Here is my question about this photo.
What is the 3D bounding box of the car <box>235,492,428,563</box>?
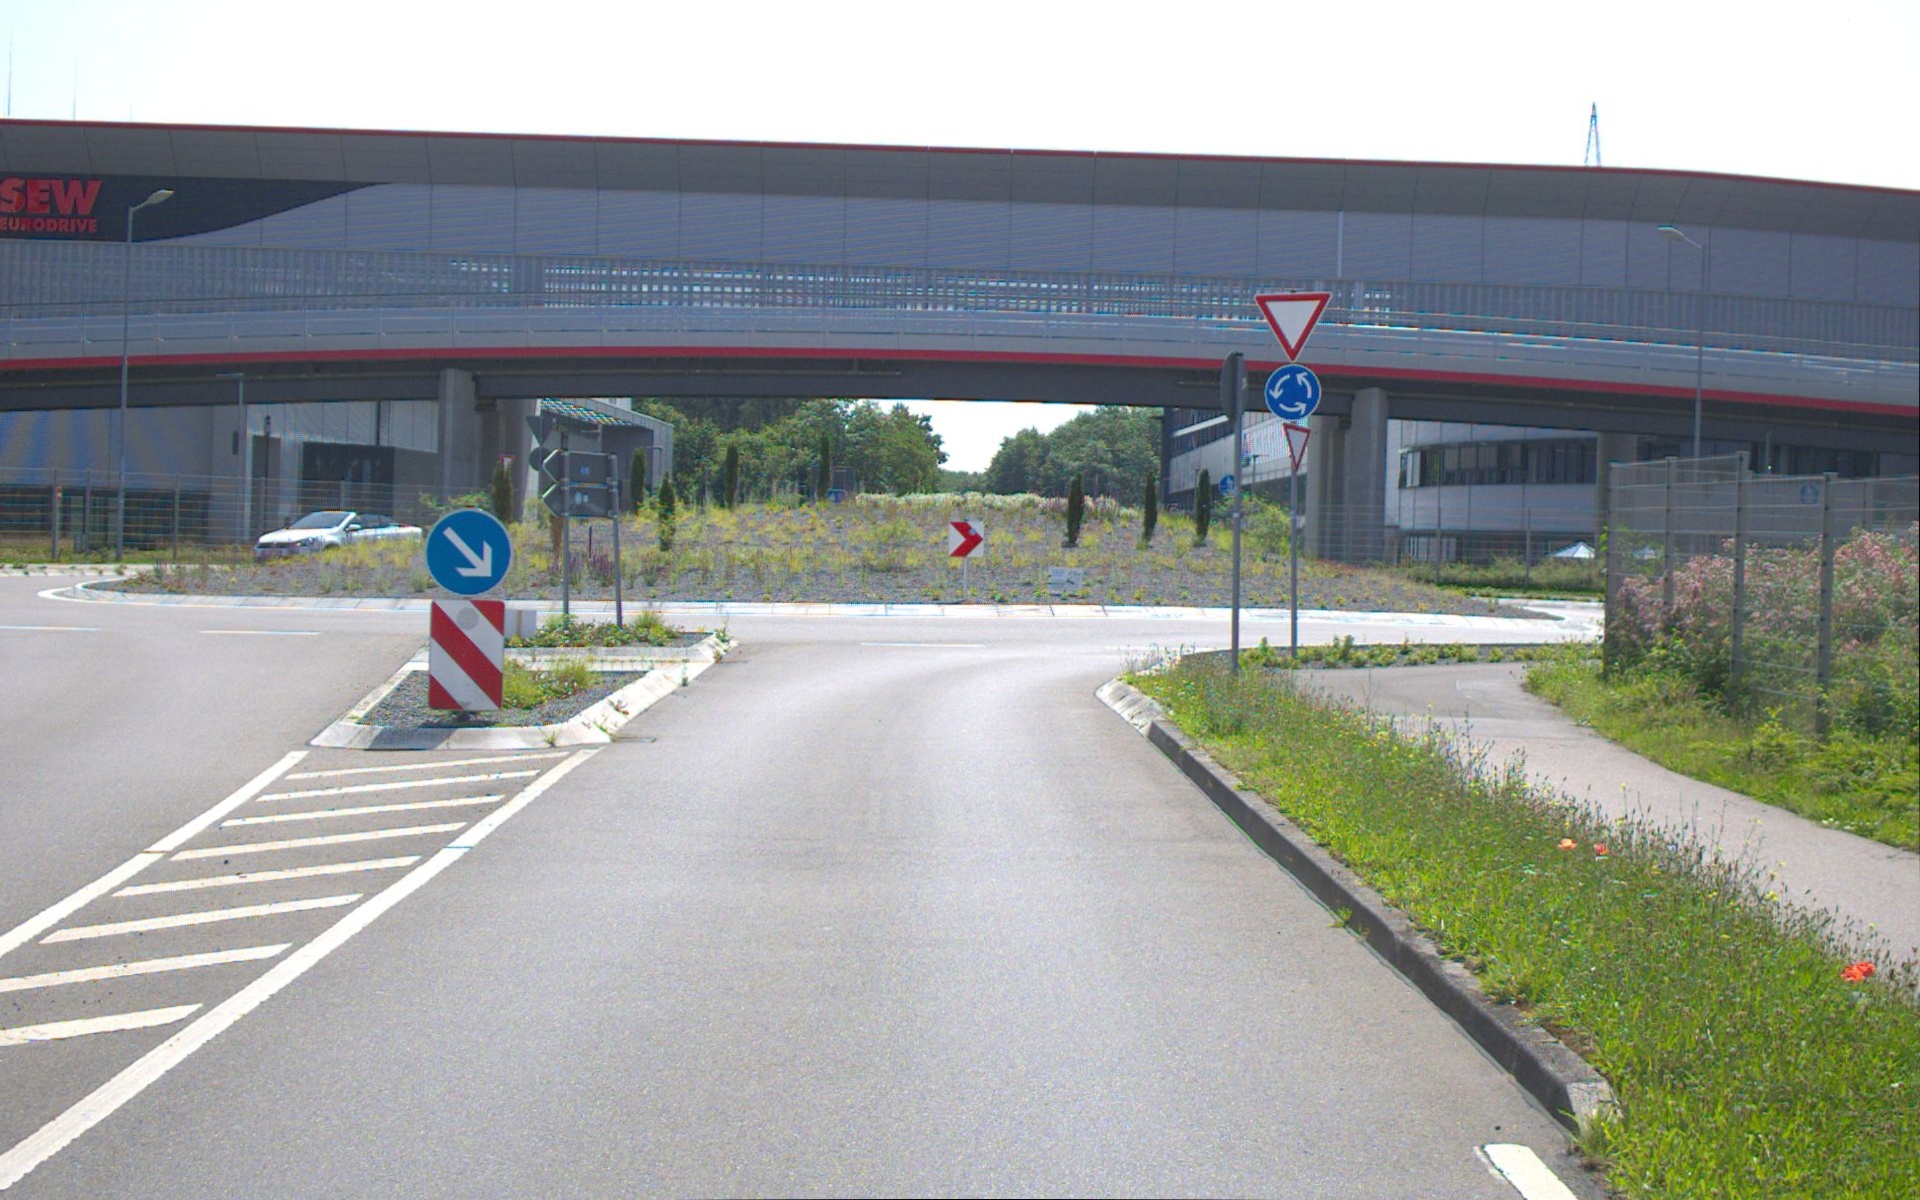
[{"bbox_3d":[-13.175,-1.512,72.248,1.773,1.423,4.045,1,1,30],"label":"car"}]
